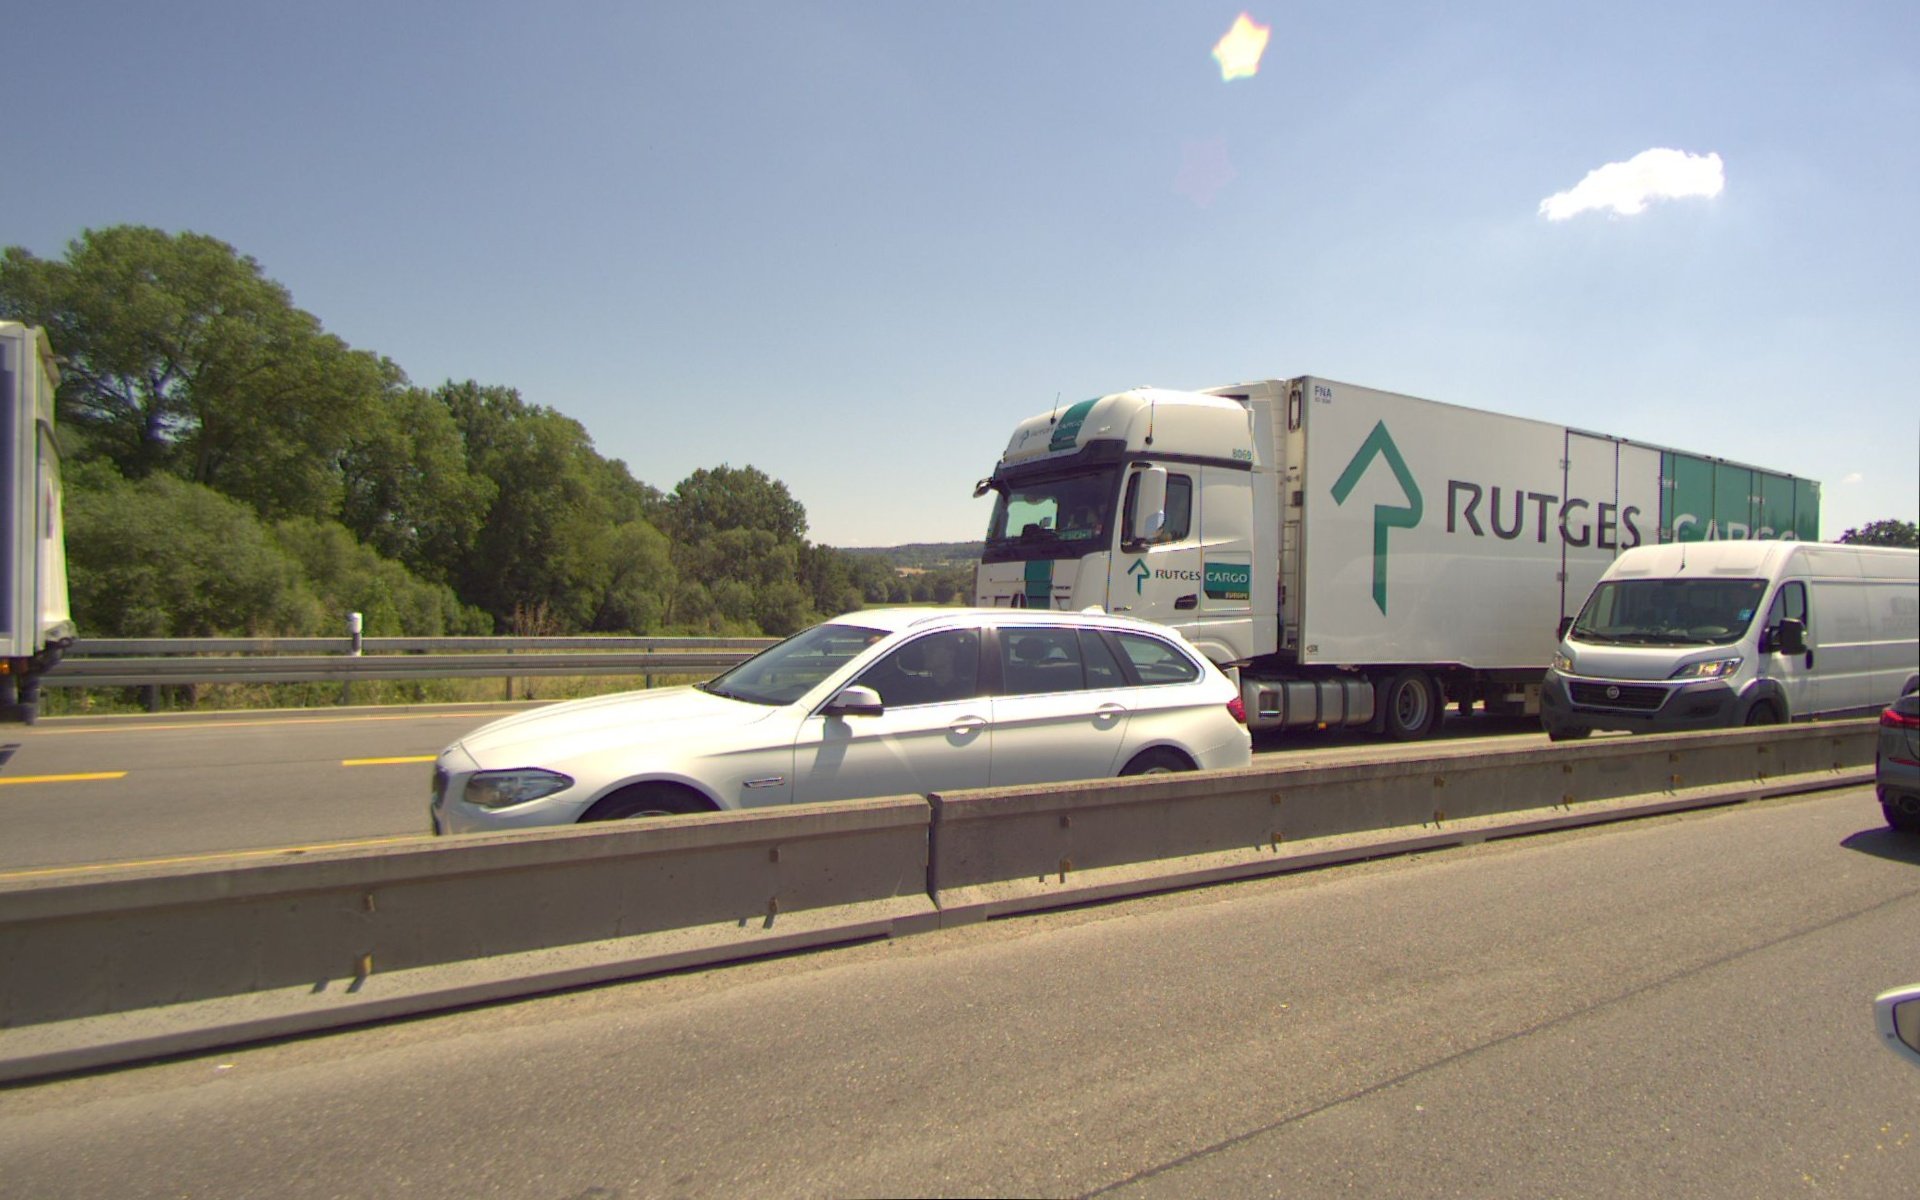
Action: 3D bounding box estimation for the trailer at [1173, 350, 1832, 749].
[{"bbox_3d":[9.247,-0.365,15.826,13.014,4.489,2.802,2,-1,-31],"label":"trailer"}]

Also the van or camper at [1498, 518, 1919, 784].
[{"bbox_3d":[9.530,0.504,12.235,6.458,2.545,2.207,1,1,-31],"label":"van or camper"}]

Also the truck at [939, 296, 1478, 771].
[{"bbox_3d":[3.110,-0.587,12.193,6.152,4.451,2.793,1,0,-30],"label":"truck"}]

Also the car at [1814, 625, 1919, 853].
[{"bbox_3d":[8.540,0.965,7.424,4.684,1.471,1.843,1,1,-29],"label":"car"}]

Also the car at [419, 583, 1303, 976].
[{"bbox_3d":[-0.421,0.712,6.028,4.917,1.518,1.983,1,1,-31],"label":"car"}]

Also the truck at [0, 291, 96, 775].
[{"bbox_3d":[-11.336,-0.580,6.720,8.295,3.815,2.881,0,1,-39],"label":"truck"}]
